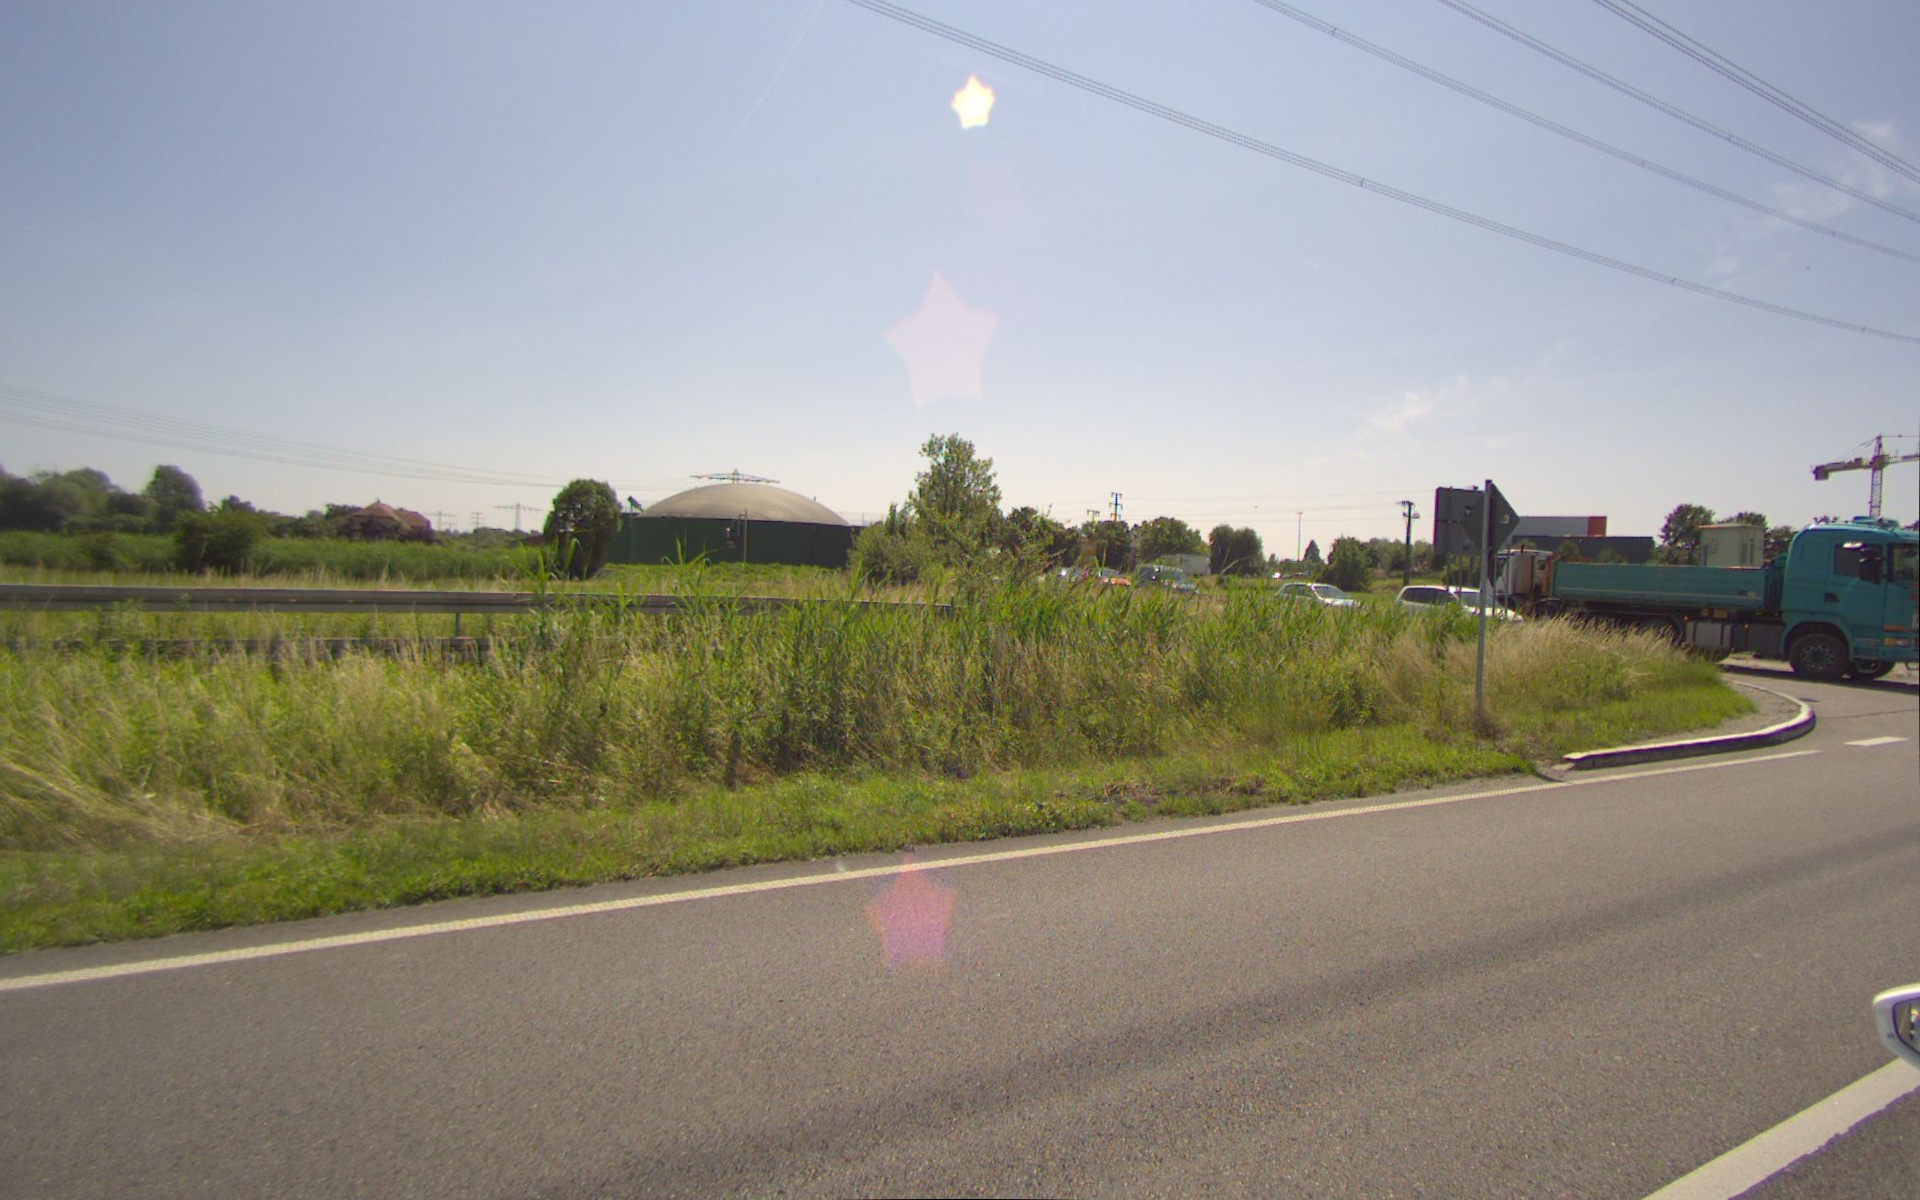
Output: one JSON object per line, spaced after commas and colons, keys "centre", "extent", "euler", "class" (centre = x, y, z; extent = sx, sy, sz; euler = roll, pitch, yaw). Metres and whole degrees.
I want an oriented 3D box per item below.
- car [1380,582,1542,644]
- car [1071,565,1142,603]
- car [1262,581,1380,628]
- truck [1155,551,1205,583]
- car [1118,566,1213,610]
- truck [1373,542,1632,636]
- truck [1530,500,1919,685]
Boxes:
{"centre": [15.377, 0.344, 31.155], "extent": [1.935, 1.634, 4.541], "euler": [1, 2, -15], "class": "car"}
{"centre": [7.771, -0.880, 53.657], "extent": [1.886, 1.874, 4.464], "euler": [1, 2, -18], "class": "car"}
{"centre": [13.171, 0.124, 36.950], "extent": [1.691, 1.490, 4.427], "euler": [1, 1, -18], "class": "car"}
{"centre": [36.528, -5.393, 166.581], "extent": [3.627, 4.708, 13.205], "euler": [3, 1, 33], "class": "truck"}
{"centre": [9.554, -0.594, 47.164], "extent": [2.057, 1.893, 4.928], "euler": [0, 3, -21], "class": "car"}
{"centre": [21.519, -0.468, 40.777], "extent": [2.788, 3.332, 9.648], "euler": [1, 1, -22], "class": "truck"}
{"centre": [18.602, -0.343, 24.607], "extent": [2.466, 3.785, 7.874], "euler": [1, 3, -27], "class": "truck"}
